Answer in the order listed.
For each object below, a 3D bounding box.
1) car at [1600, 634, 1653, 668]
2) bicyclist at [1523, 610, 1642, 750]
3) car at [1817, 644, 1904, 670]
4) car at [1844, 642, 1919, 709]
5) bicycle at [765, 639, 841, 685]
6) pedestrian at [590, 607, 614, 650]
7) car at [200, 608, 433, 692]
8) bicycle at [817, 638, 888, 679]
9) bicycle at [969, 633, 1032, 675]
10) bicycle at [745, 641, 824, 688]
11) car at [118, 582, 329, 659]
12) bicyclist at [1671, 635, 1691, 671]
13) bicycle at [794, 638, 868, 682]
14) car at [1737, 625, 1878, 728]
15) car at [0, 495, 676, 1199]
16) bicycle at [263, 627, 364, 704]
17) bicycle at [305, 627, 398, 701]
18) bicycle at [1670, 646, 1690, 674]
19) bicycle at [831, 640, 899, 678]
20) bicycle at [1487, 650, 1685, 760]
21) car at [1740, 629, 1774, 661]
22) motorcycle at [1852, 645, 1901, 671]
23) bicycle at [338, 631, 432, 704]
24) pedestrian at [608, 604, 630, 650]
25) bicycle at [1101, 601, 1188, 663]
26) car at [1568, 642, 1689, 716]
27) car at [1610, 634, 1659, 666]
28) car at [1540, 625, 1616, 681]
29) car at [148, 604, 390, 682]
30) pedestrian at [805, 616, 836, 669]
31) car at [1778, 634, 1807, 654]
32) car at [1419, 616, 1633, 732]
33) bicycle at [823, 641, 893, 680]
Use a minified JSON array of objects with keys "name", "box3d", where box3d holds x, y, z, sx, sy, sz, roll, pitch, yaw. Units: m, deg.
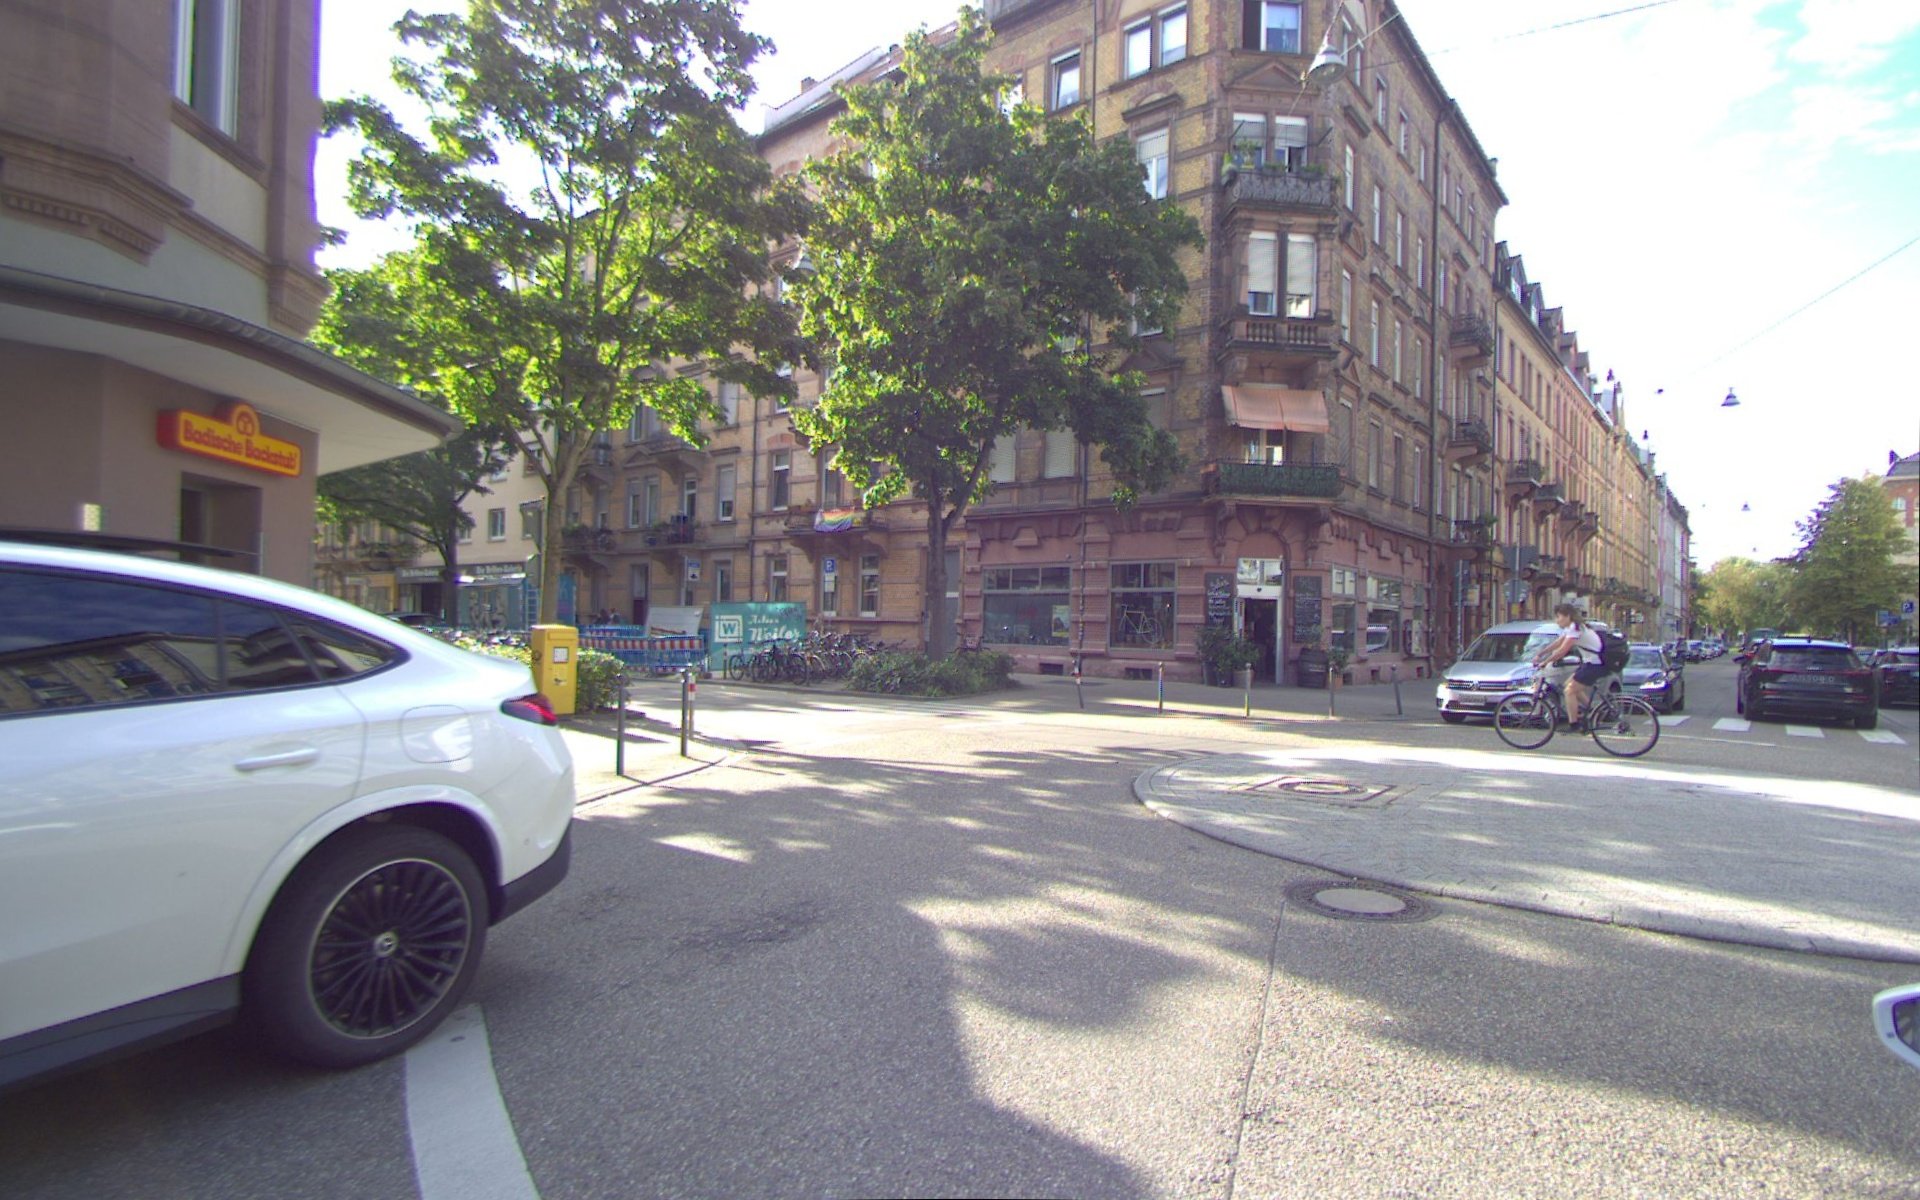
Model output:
[{"name":"car","box3d":[31.947,2.422,48.098,1.721,1.503,3.966,2,-1,39]},{"name":"bicyclist","box3d":[7.544,0.945,12.177,1.111,1.607,0.690,0,-4,41]},{"name":"car","box3d":[56.638,3.590,63.256,3.705,1.566,1.728,-2,-4,30]},{"name":"car","box3d":[24.606,1.936,26.485,1.771,1.626,3.906,-3,-3,40]},{"name":"bicycle","box3d":[-3.960,1.544,25.229,2.042,1.043,0.589,0,0,34]},{"name":"pedestrian","box3d":[-14.244,1.142,40.010,0.513,1.695,0.699,0,-1,38]},{"name":"car","box3d":[-13.024,0.979,20.499,1.552,1.496,3.683,2,0,38]},{"name":"bicycle","box3d":[-2.924,1.562,27.181,2.042,1.025,0.589,0,0,34]},{"name":"bicycle","box3d":[1.133,1.517,28.410,1.754,1.081,0.526,1,-1,37]},{"name":"bicycle","box3d":[-4.304,1.568,24.597,2.106,1.043,0.589,0,0,34]},{"name":"car","box3d":[-17.037,0.479,23.375,1.553,1.618,3.681,2,0,40]},{"name":"bicyclist","box3d":[34.781,2.543,48.470,0.692,1.700,1.108,2,0,37]},{"name":"bicycle","box3d":[-3.369,1.544,26.117,2.042,1.025,0.589,0,0,34]},{"name":"car","box3d":[16.658,1.469,19.852,1.941,1.763,4.024,1,-2,39]},{"name":"car","box3d":[-3.189,0.583,2.567,1.963,1.656,4.838,0,-2,27]},{"name":"bicycle","box3d":[-10.557,1.027,16.363,2.393,1.149,0.577,0,-2,37]},{"name":"bicycle","box3d":[-10.219,1.044,16.825,2.393,1.149,0.477,0,-2,37]},{"name":"bicycle","box3d":[34.686,2.874,48.356,0.691,1.236,2.109,2,0,37]},{"name":"bicycle","box3d":[-2.721,1.671,28.798,2.042,0.981,0.589,0,0,34]},{"name":"bicycle","box3d":[7.533,1.228,12.159,1.949,1.215,0.690,-2,-5,41]},{"name":"car","box3d":[54.569,3.063,68.824,1.760,2.047,3.872,2,0,38]},{"name":"motorcycle","box3d":[55.744,3.503,61.105,2.128,1.550,0.682,-3,-3,44]},{"name":"bicycle","box3d":[-9.904,1.131,17.257,2.393,1.149,0.477,0,-1,37]},{"name":"pedestrian","box3d":[-13.768,1.090,40.575,0.513,1.842,0.622,0,-1,38]},{"name":"bicycle","box3d":[4.727,0.809,25.822,2.129,1.541,0.555,0,-1,35]},{"name":"car","box3d":[14.707,1.689,22.017,1.771,1.456,3.982,-2,-4,40]},{"name":"car","box3d":[34.815,2.552,51.811,1.720,1.503,3.967,2,-1,39]},{"name":"car","box3d":[22.856,1.896,37.065,1.896,1.896,4.419,0,-1,38]},{"name":"car","box3d":[-14.937,0.915,21.894,1.553,1.496,4.055,2,0,40]},{"name":"pedestrian","box3d":[-4.401,1.328,31.623,0.611,1.599,0.799,-2,3,-44]},{"name":"car","box3d":[74.836,3.968,90.340,1.907,1.660,3.982,2,0,39]},{"name":"car","box3d":[10.123,1.247,17.848,4.292,1.814,1.815,2,-3,-38]},{"name":"bicycle","box3d":[-2.846,1.660,27.925,2.042,0.981,0.589,0,0,34]}]
